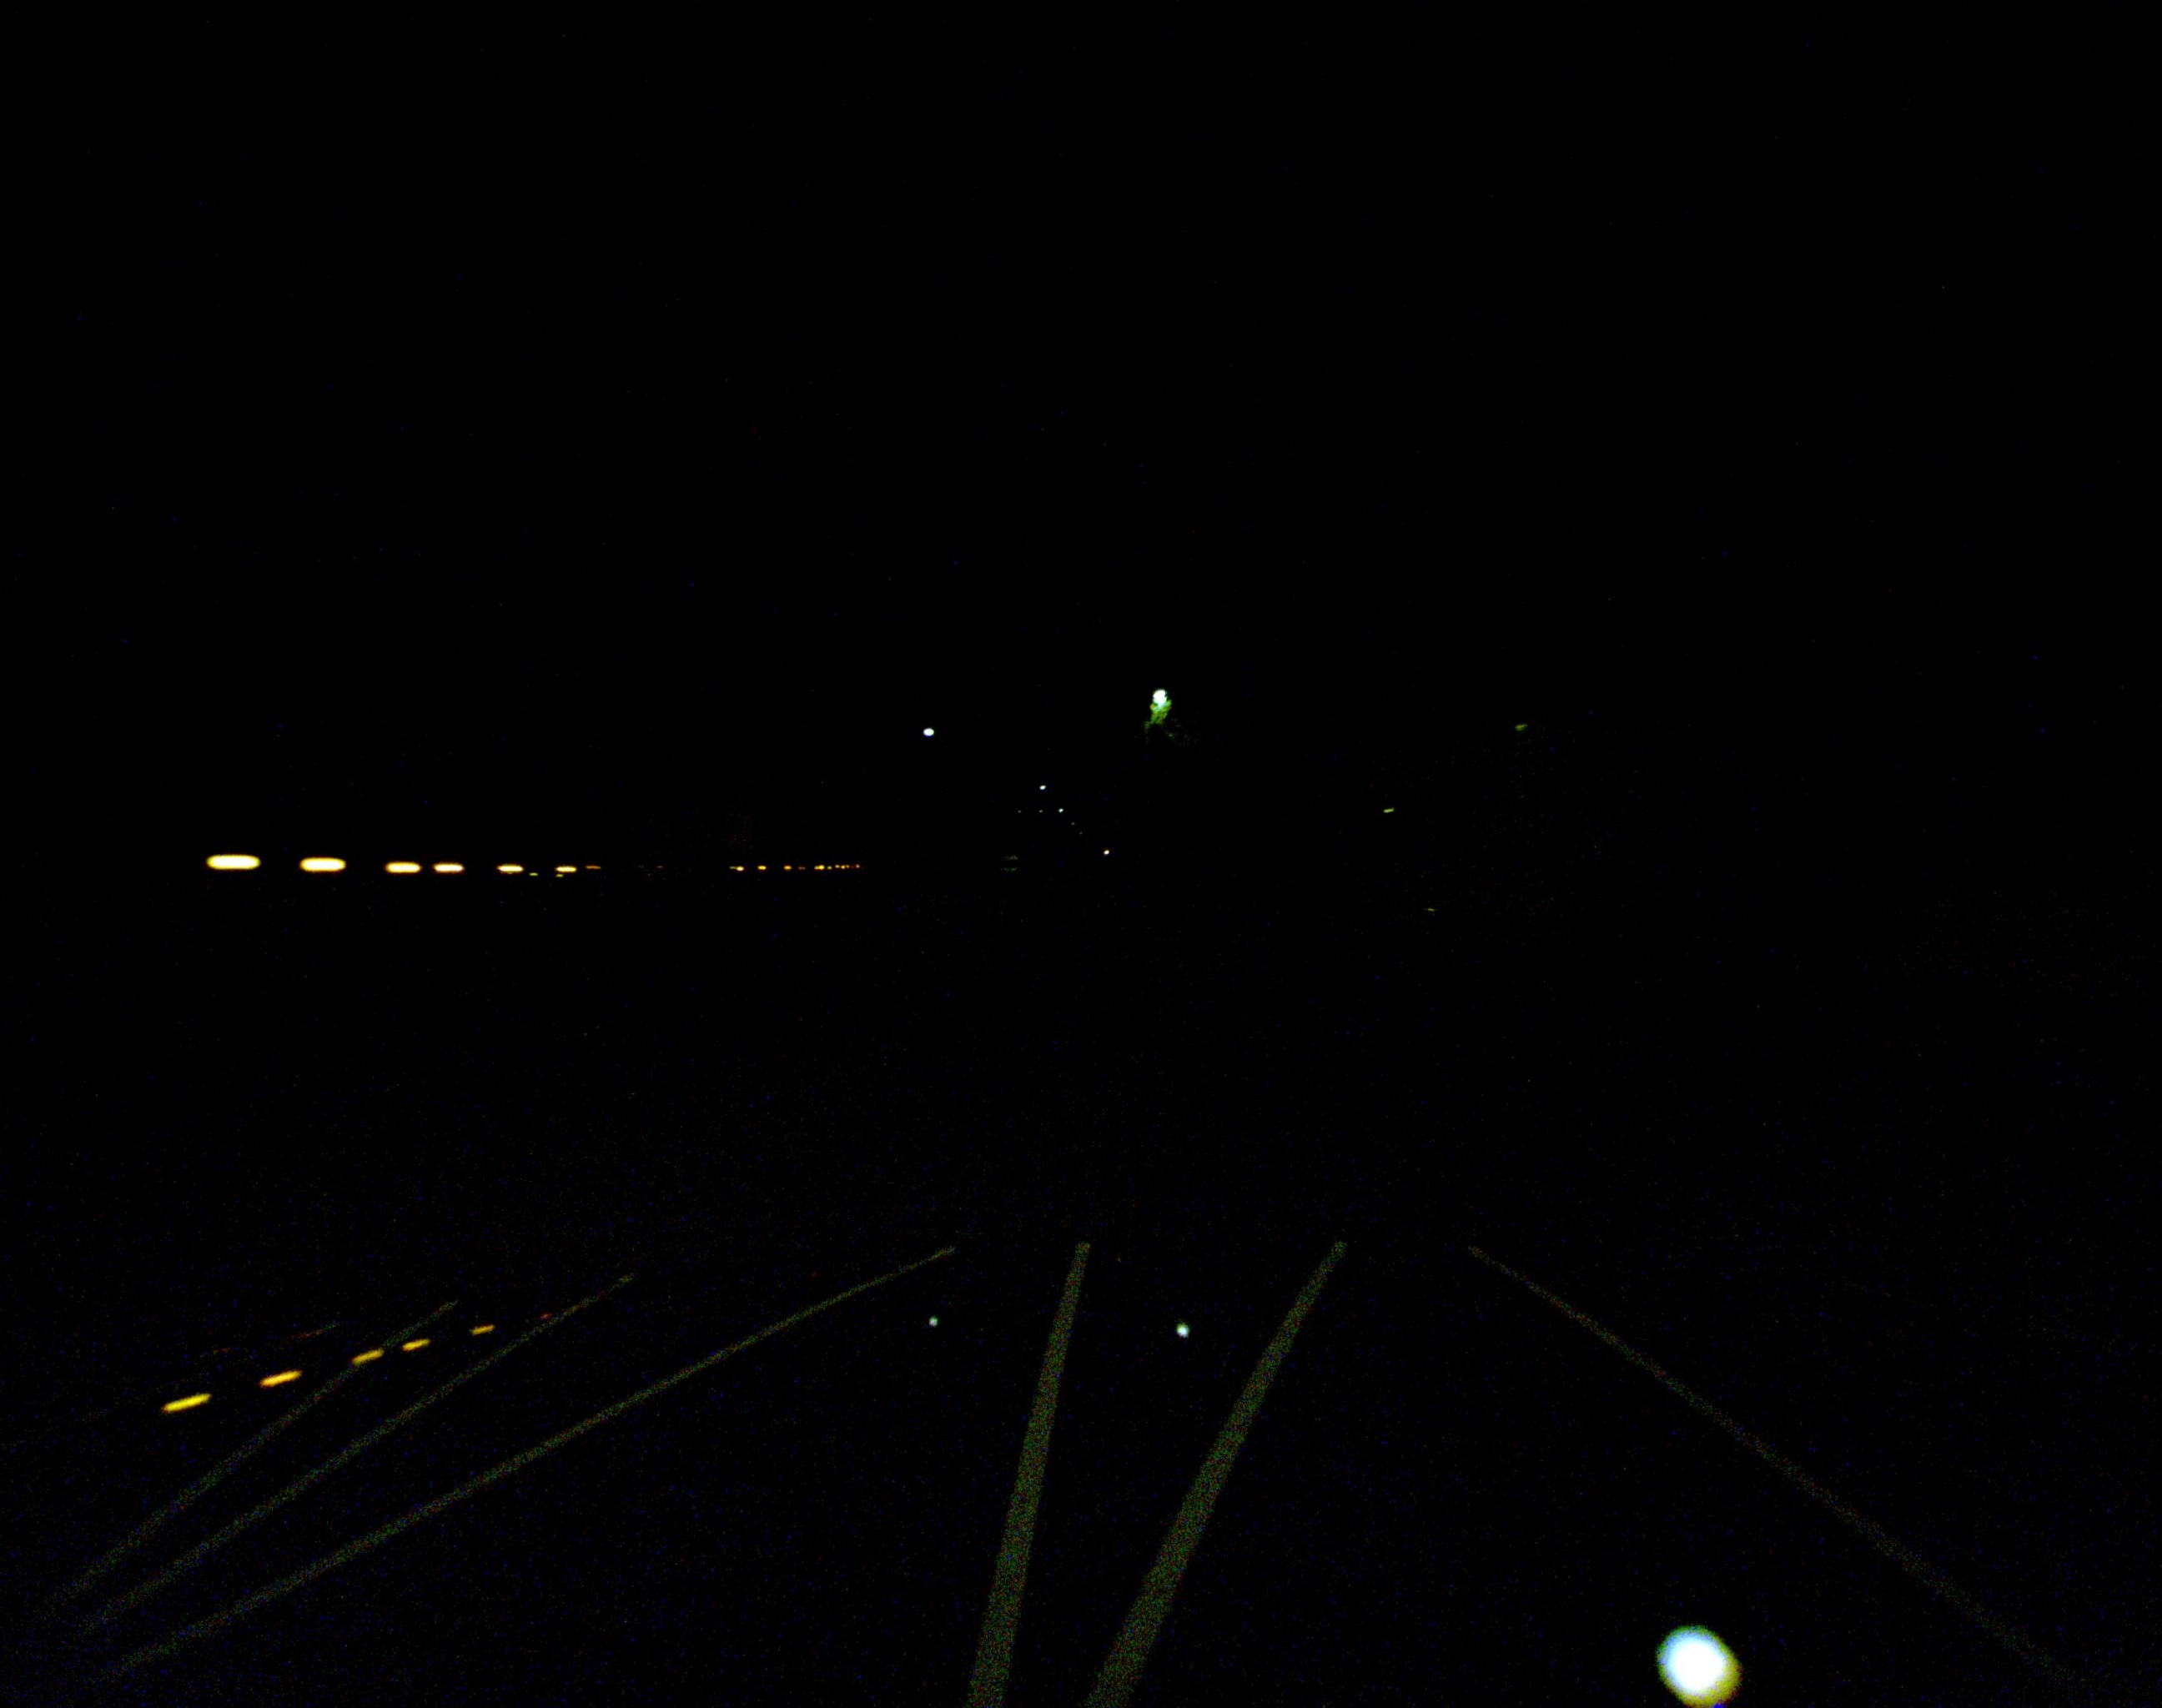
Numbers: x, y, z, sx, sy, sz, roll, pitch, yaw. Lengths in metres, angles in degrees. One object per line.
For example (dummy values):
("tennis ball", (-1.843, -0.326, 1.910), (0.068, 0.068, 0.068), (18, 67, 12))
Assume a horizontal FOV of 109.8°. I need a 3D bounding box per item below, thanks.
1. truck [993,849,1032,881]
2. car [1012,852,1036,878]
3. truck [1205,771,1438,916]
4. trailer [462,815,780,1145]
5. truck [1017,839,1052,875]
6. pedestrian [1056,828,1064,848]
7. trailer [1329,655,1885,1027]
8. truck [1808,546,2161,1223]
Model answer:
("truck", (-5.988, 0.917, 66.984), (2.405, 2.555, 6.407), (-1, 1, 4))
("car", (-5.611, 1.045, 75.358), (1.863, 2.373, 4.000), (-2, 1, 3))
("truck", (5.989, -0.283, 21.124), (2.751, 3.048, 9.332), (-2, 1, -5))
("trailer", (-3.838, 0.770, 7.247), (1.496, 2.002, 4.977), (-2, 1, -19))
("truck", (-5.111, 0.285, 84.566), (3.056, 3.602, 9.600), (-2, 1, 1))
("pedestrian", (-5.192, -3.954, 186.925), (1.743, 4.680, 2.302), (-2, 1, 4))
("trailer", (5.715, -0.123, 10.373), (2.488, 3.055, 7.955), (-2, 1, 4))
("truck", (5.352, 0.123, 0.985), (1.998, 2.768, 7.244), (-2, 1, 1))
